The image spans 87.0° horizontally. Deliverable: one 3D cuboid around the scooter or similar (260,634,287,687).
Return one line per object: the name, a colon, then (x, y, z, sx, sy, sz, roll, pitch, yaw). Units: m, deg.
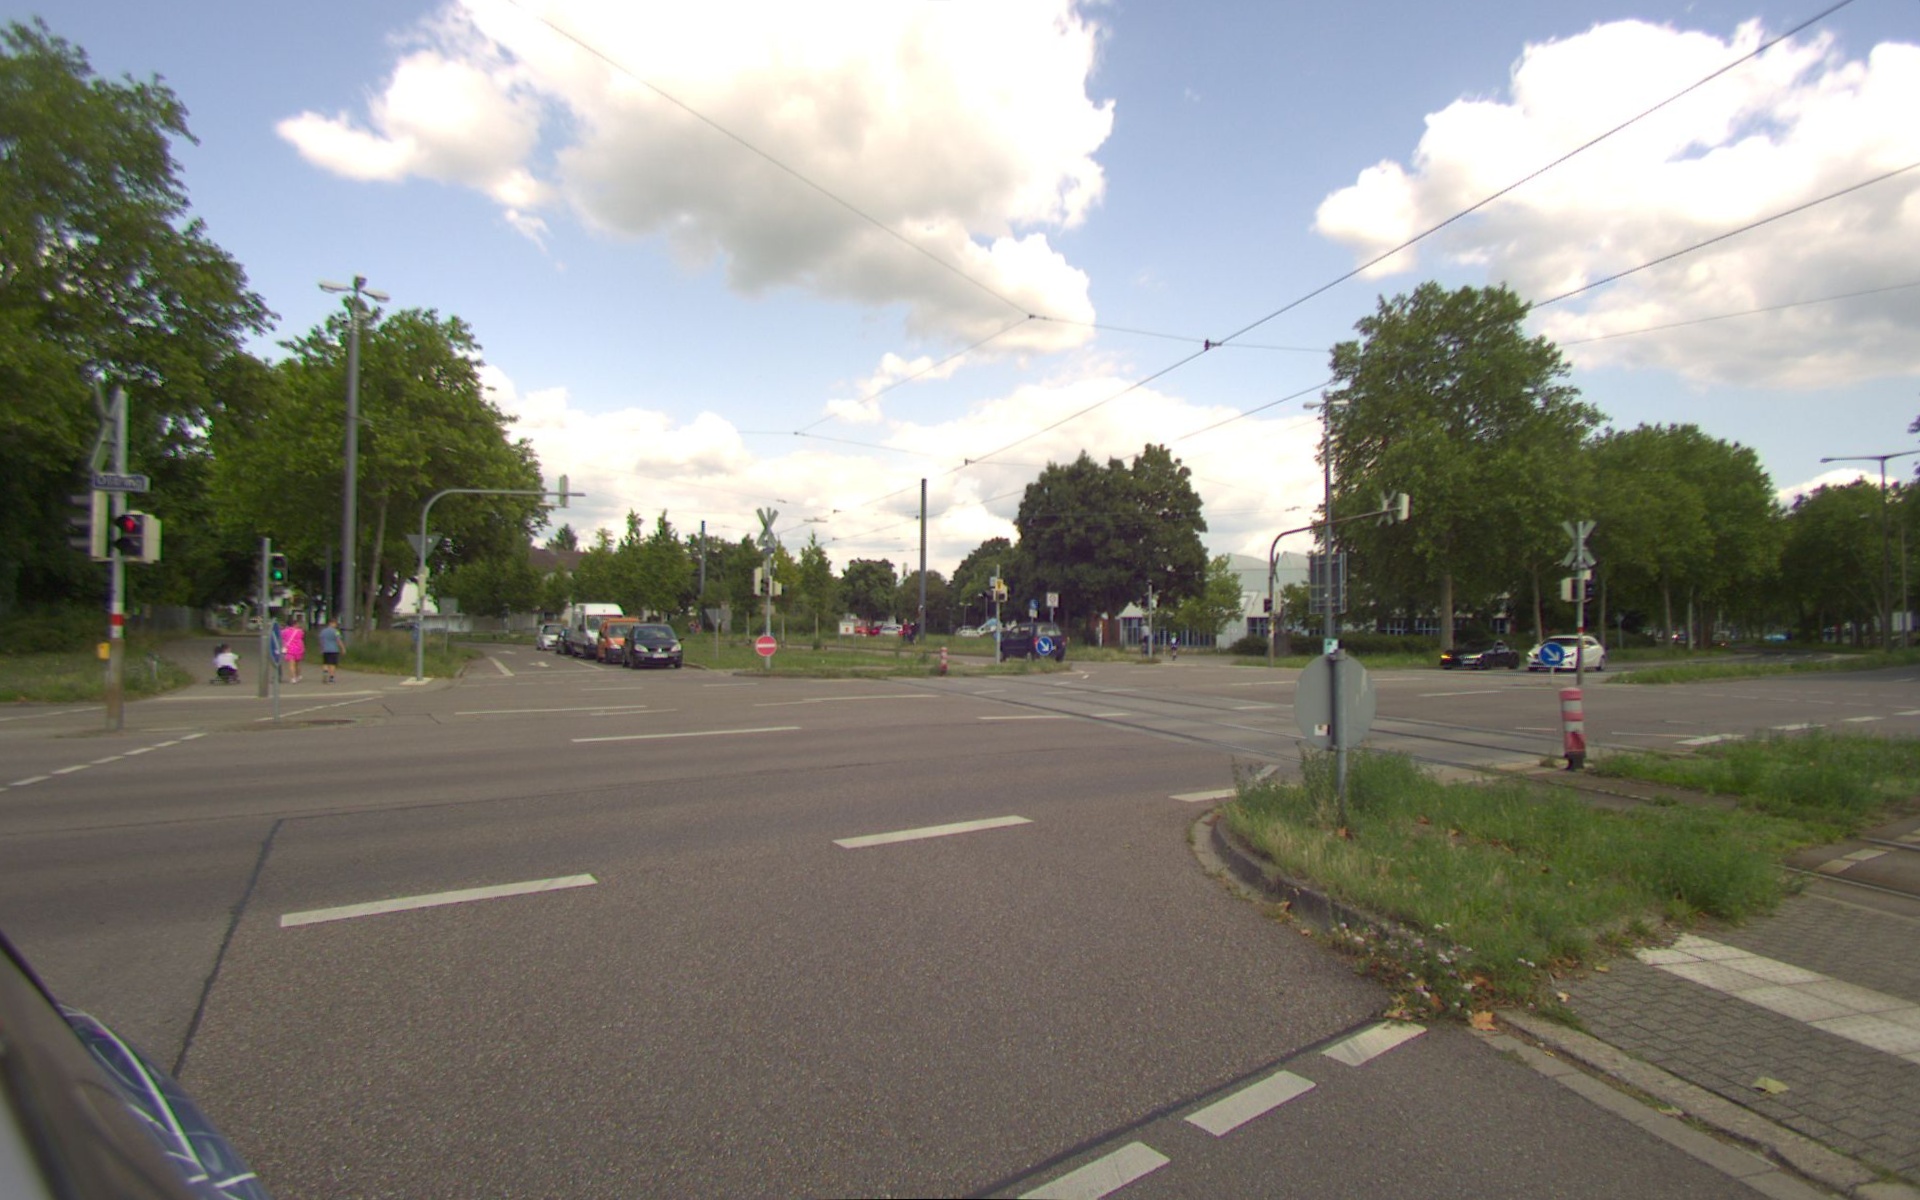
scooter or similar: (-16.525, 1.450, 24.369, 0.316, 1.241, 0.778, -1, -1, -19)

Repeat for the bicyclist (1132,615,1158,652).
bicyclist: (8.881, 1.603, 48.664, 0.947, 1.735, 0.838, 1, -2, -14)

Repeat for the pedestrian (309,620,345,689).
pedestrian: (-15.378, 1.312, 24.610, 0.622, 1.631, 0.612, 0, -1, -21)

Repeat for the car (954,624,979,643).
car: (0.568, 3.041, 92.795, 1.970, 1.652, 4.395, 0, -2, -5)

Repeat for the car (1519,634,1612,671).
car: (23.988, 2.033, 40.059, 4.071, 1.375, 1.835, 2, -2, -38)

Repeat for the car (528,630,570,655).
car: (-24.661, 2.516, 60.621, 1.780, 1.442, 4.396, 1, -2, -29)

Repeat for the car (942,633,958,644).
car: (-1.413, 5.520, 145.296, 1.970, 1.652, 4.395, 0, -2, -5)

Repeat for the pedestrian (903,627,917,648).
pedestrian: (-3.317, 2.512, 67.349, 0.640, 1.364, 0.754, -1, -1, -30)

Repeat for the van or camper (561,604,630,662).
van or camper: (-17.309, 1.592, 47.892, 1.948, 2.544, 6.055, 2, -3, -30)

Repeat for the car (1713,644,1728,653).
car: (114.263, 7.300, 152.055, 1.638, 1.201, 3.661, -1, -2, 38)

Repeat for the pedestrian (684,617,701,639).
pedestrian: (-24.901, 2.573, 94.352, 1.090, 2.029, 1.178, 2, -3, -44)

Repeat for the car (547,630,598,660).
car: (-20.502, 2.365, 53.466, 1.780, 1.442, 4.482, 1, -1, -30)

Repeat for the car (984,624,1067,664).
car: (2.718, 1.829, 42.777, 1.697, 1.629, 4.013, 1, -2, -26)

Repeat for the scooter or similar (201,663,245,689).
scooter or similar: (-16.914, 1.735, 23.244, 0.601, 0.515, 0.860, -1, -1, -20)

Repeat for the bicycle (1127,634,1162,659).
bicycle: (8.869, 2.231, 48.677, 0.936, 1.163, 1.989, 1, -2, -14)

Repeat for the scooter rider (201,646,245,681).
scooter rider: (-16.923, 1.455, 23.243, 0.601, 0.734, 0.862, -1, -1, -20)

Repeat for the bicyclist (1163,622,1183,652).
bicyclist: (10.741, 1.863, 50.977, 0.953, 1.500, 0.833, 0, -2, 11)

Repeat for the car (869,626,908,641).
car: (-7.334, 3.412, 103.582, 3.940, 1.542, 2.002, 0, -2, -4)

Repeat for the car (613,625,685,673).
car: (-11.195, 1.712, 36.264, 1.706, 1.643, 4.065, 1, -2, -28)

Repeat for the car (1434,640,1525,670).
car: (21.683, 2.270, 42.231, 3.644, 1.201, 1.645, 1, -2, -29)

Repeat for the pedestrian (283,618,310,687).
pedestrian: (-16.126, 1.266, 24.605, 0.414, 1.631, 0.598, 0, -1, -21)

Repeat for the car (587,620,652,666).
car: (-14.139, 1.750, 41.897, 1.851, 1.813, 4.384, 1, -2, -28)

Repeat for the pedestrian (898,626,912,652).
pedestrian: (-3.581, 2.535, 65.463, 0.604, 1.657, 0.639, -1, -1, -44)

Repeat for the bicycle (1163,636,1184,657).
bicycle: (10.759, 2.342, 51.045, 0.941, 1.048, 1.977, 0, -2, 10)

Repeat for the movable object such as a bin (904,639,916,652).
movable object such as a bin: (-3.207, 2.936, 65.072, 0.570, 0.817, 0.460, -1, -1, -43)
